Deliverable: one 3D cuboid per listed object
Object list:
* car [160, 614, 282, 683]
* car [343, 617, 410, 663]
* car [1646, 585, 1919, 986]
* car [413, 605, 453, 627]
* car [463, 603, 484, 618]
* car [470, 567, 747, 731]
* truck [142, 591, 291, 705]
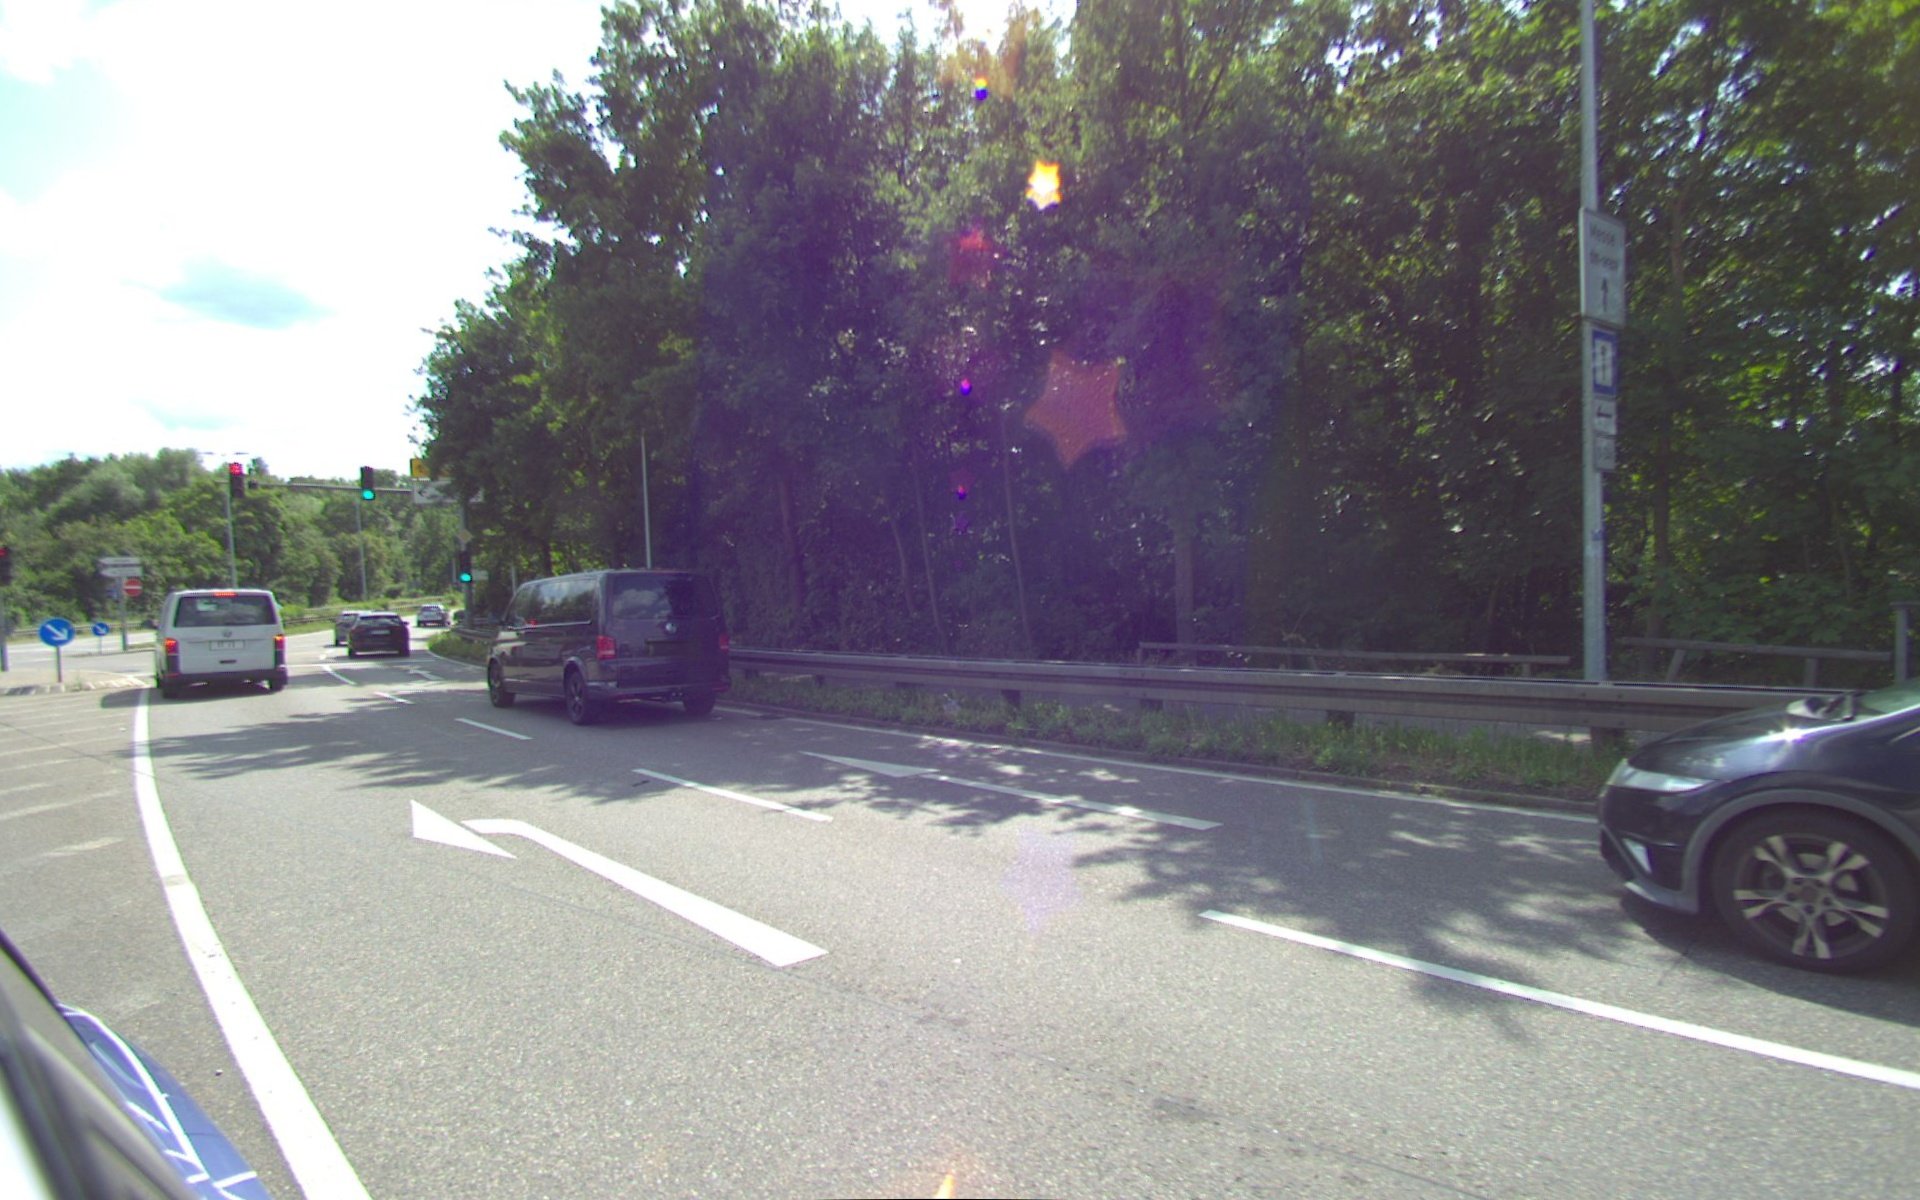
[{"bbox_3d":[-18.677,1.186,25.525,3.820,1.569,1.680,-2,0,41],"label":"car"},{"bbox_3d":[-19.295,1.275,33.605,1.612,1.420,4.352,-1,-1,-26],"label":"car"},{"bbox_3d":[4.843,0.620,3.356,4.007,1.400,1.778,-1,0,44],"label":"car"},{"bbox_3d":[-36.518,1.103,70.186,1.659,1.489,4.727,0,-1,-18],"label":"car"},{"bbox_3d":[-52.060,1.143,108.308,1.708,1.532,4.081,0,0,-21],"label":"car"},{"bbox_3d":[-5.217,0.612,14.490,1.969,1.928,5.140,-1,-1,-41],"label":"car"},{"bbox_3d":[-14.792,0.862,19.988,1.936,1.927,5.378,-2,0,-41],"label":"truck"}]
